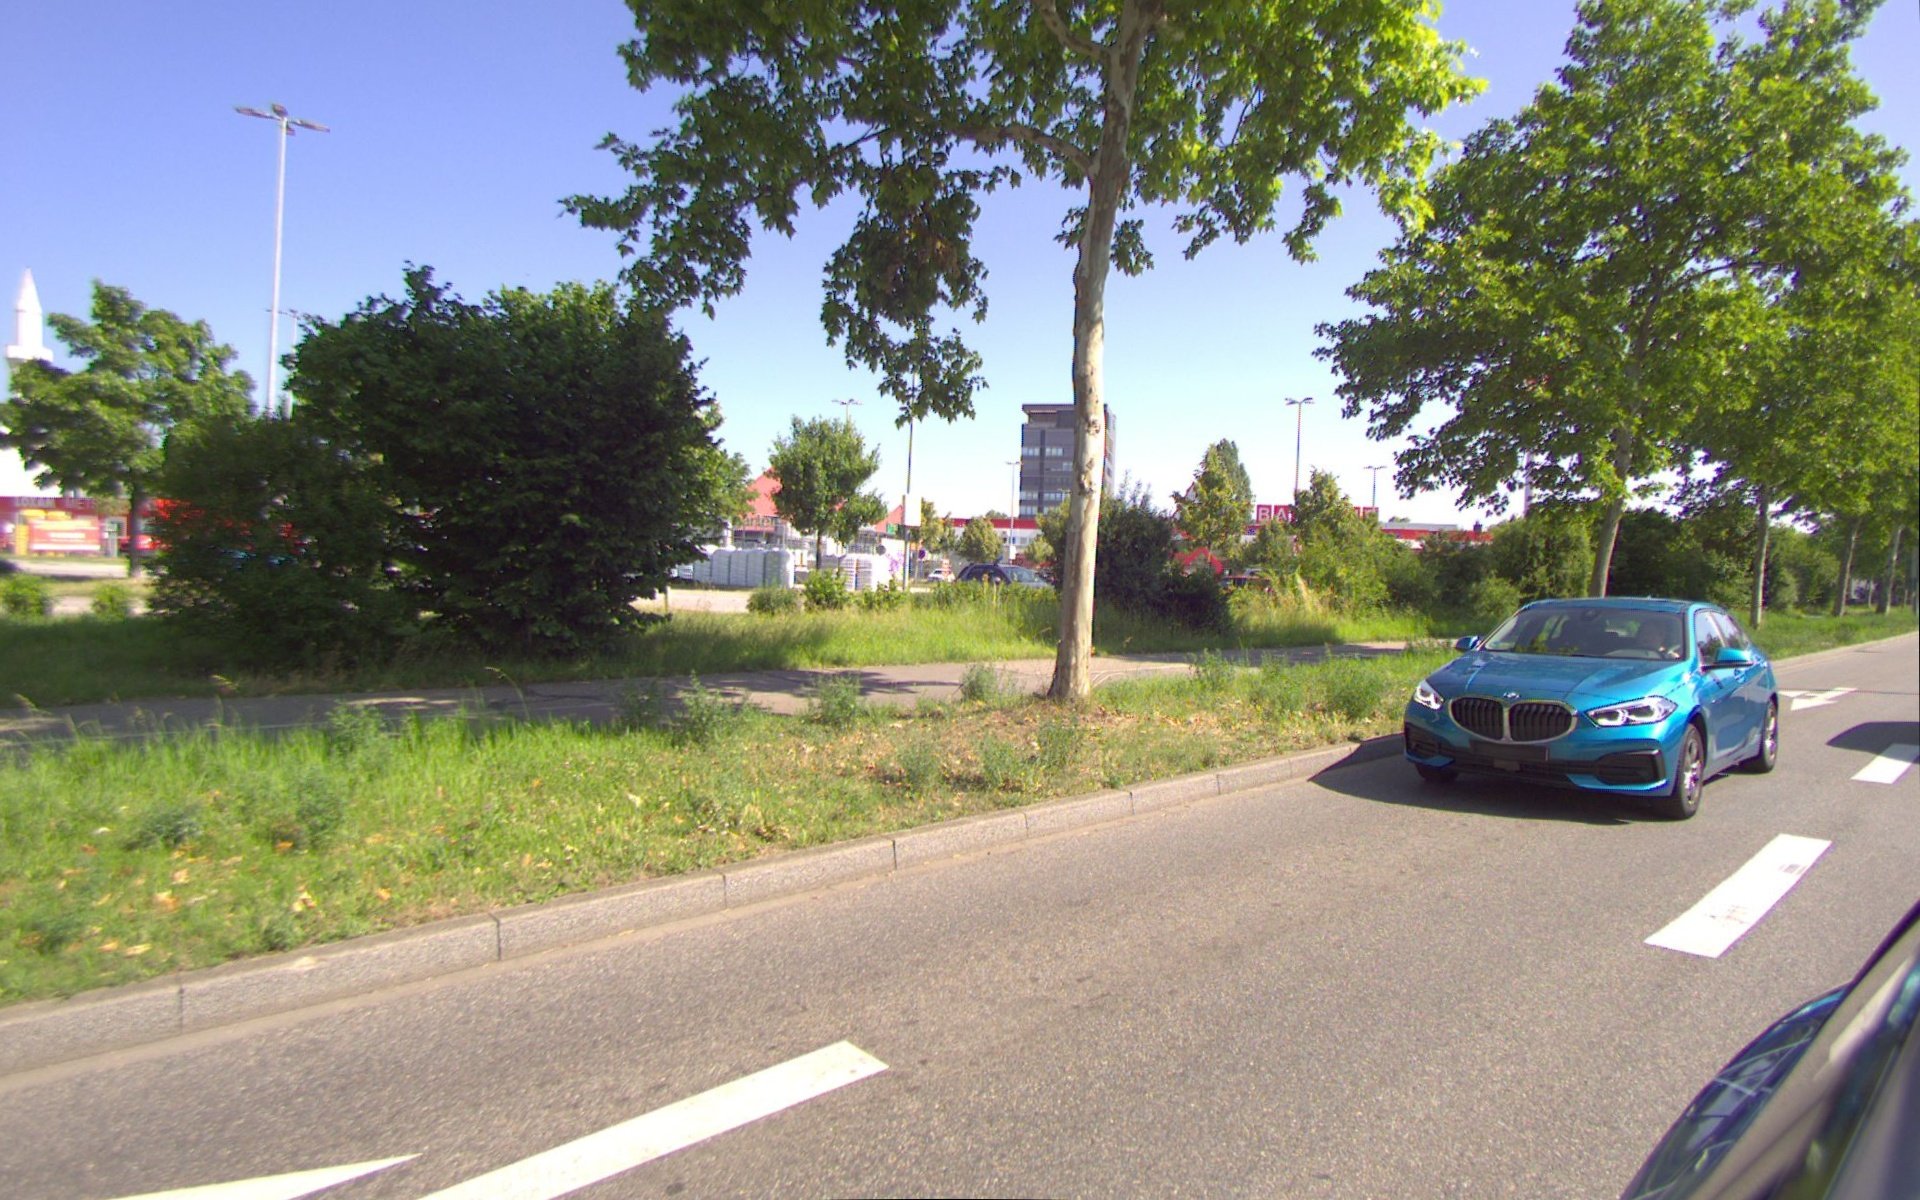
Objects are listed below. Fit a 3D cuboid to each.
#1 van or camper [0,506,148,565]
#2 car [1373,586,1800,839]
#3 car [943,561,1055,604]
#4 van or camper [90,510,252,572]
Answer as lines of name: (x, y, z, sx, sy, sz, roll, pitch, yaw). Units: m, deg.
van or camper: (-50.801, -3.571, 57.791, 1.970, 2.979, 7.259, 0, 1, 13)
car: (5.120, 0.635, 8.036, 4.061, 1.437, 1.870, -1, 2, -43)
car: (1.162, -0.535, 31.281, 1.583, 1.263, 3.528, -1, 1, -38)
van or camper: (-42.057, -3.049, 54.267, 1.970, 2.979, 7.259, 0, 1, 13)
